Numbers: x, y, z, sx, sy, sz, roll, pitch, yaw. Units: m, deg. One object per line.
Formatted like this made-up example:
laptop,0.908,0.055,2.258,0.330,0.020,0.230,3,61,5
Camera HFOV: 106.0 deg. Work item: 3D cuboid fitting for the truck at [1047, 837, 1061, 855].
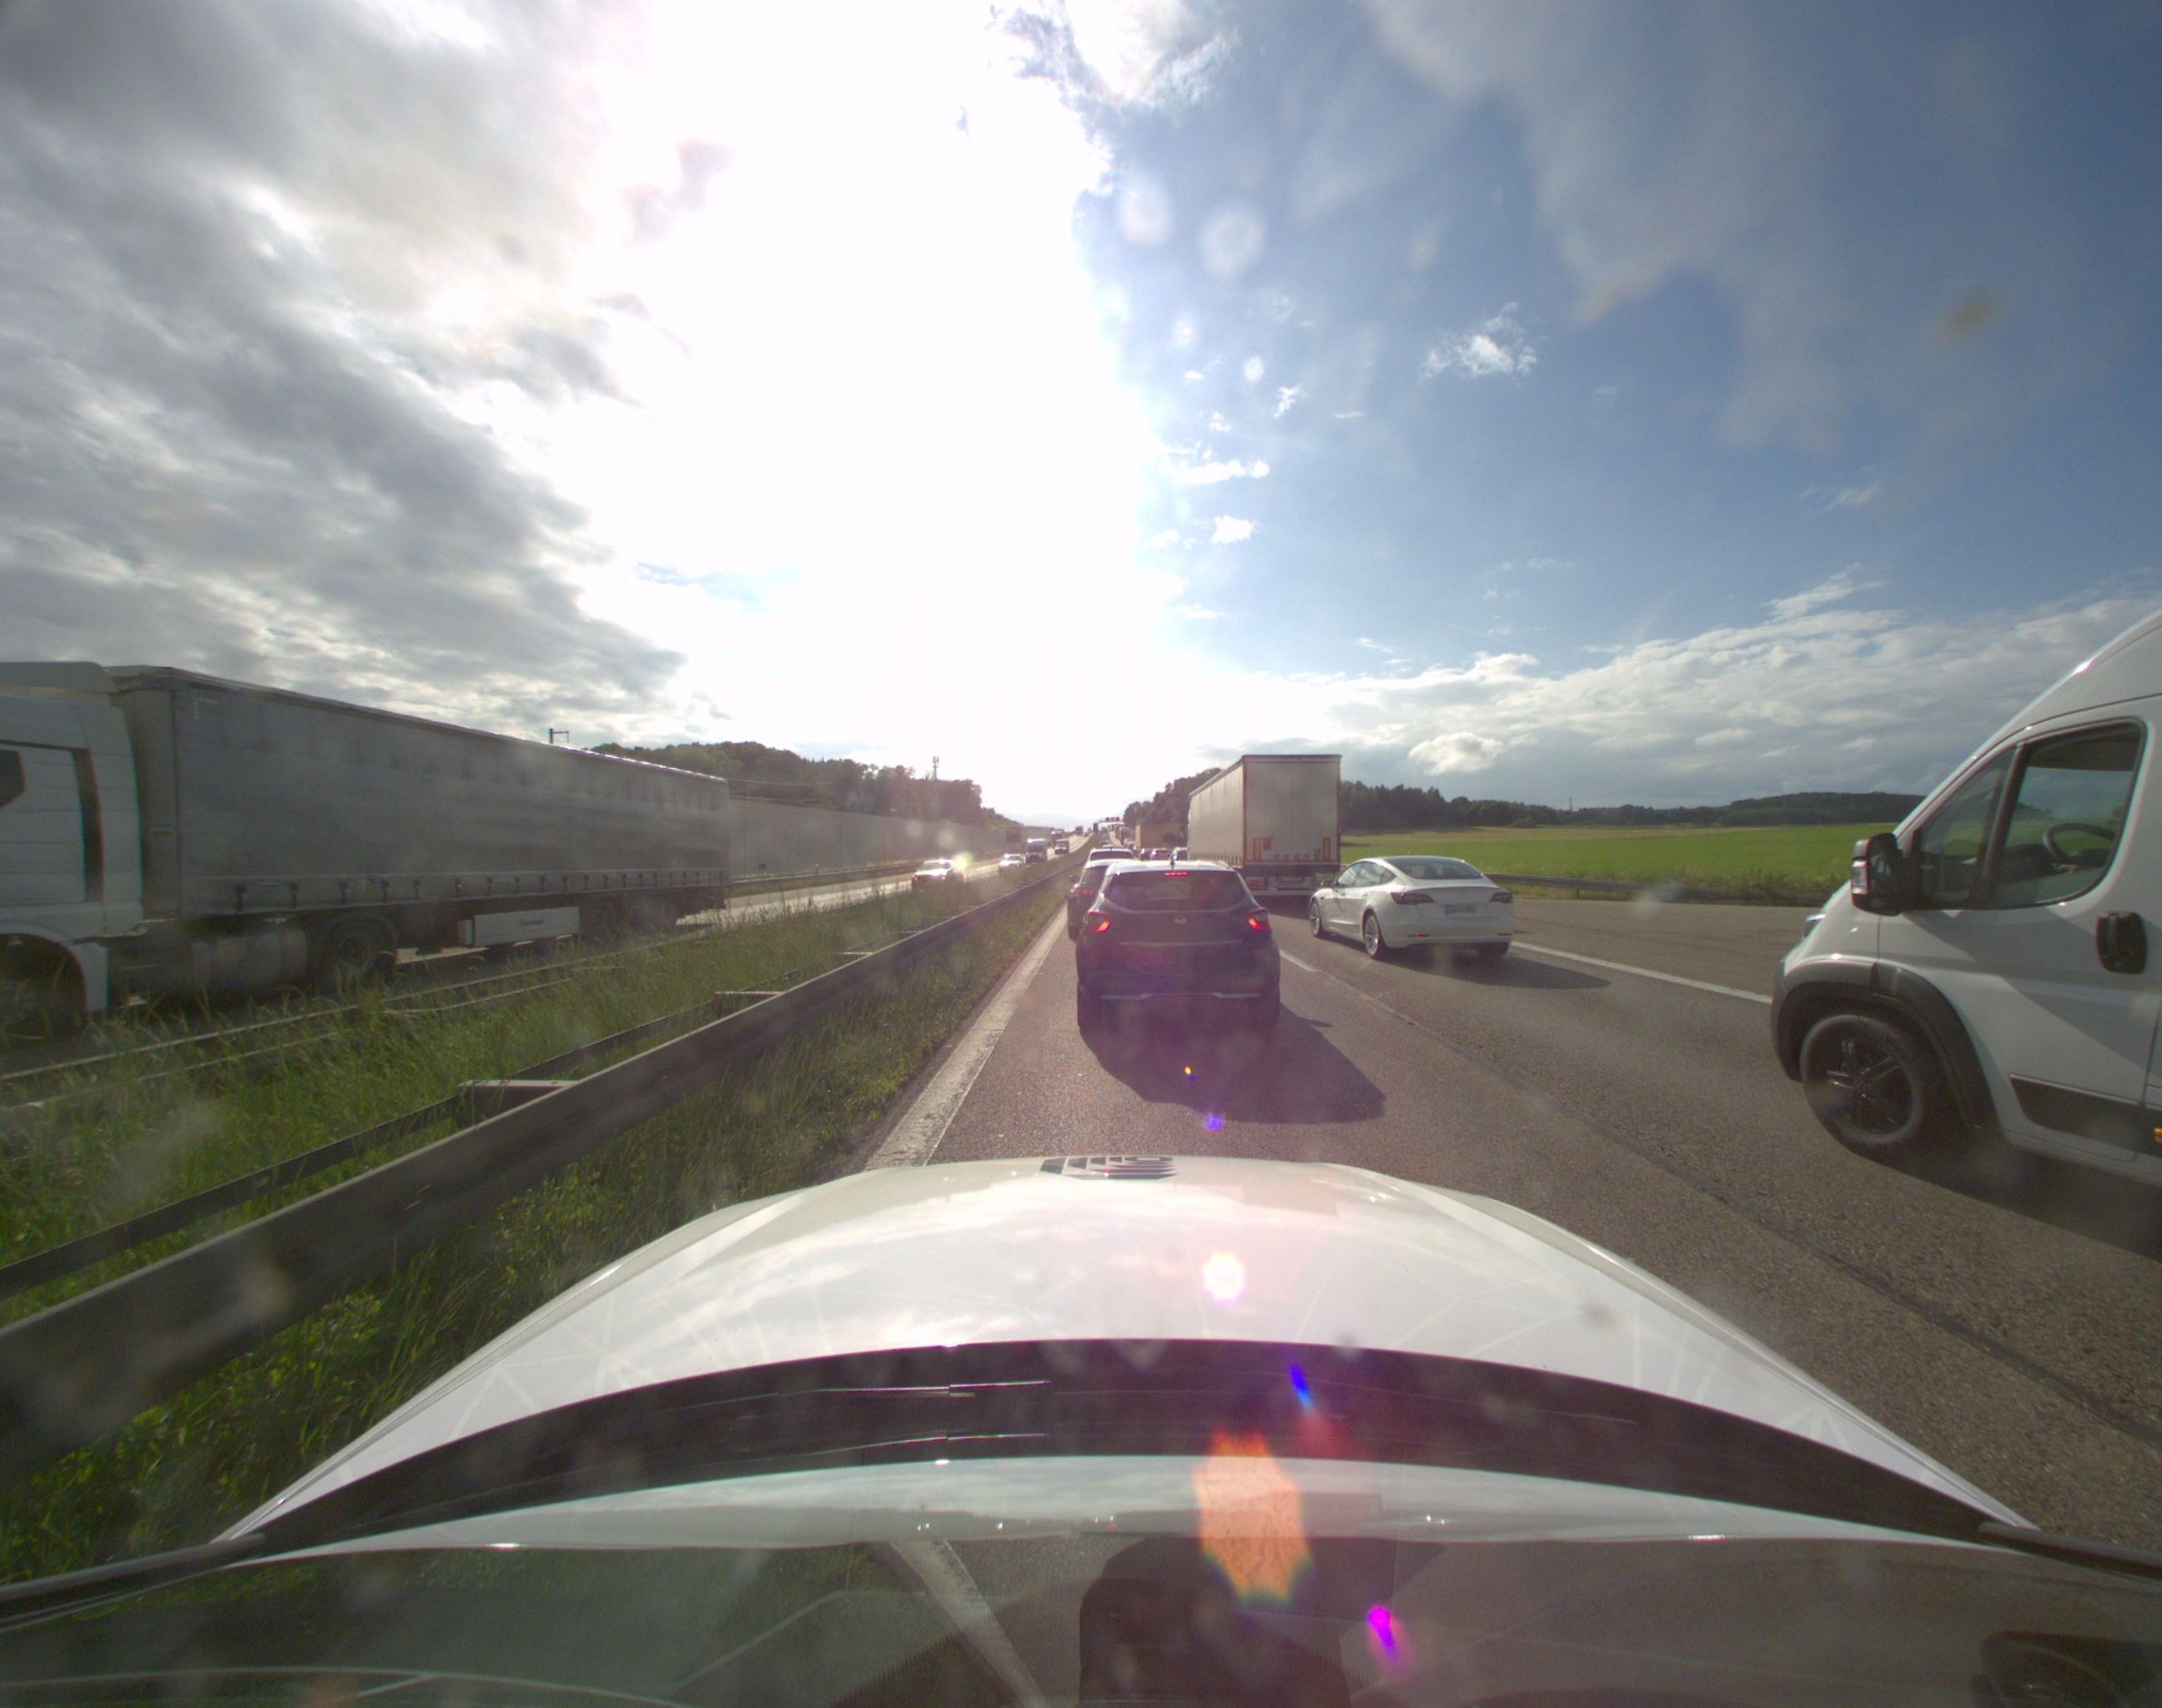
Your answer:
truck,-6.284,-1.851,189.378,2.573,3.923,5.724,-2,0,2

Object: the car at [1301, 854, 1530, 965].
car,4.893,0.705,12.667,1.782,1.394,4.437,-1,0,1

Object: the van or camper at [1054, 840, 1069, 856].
van or camper,-3.364,-1.045,143.946,2.244,2.704,7.172,-1,0,1

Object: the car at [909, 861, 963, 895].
car,-6.570,1.051,37.215,1.646,1.451,3.957,-1,0,1

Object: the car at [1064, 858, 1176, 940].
car,0.737,0.772,15.922,1.866,1.358,4.234,-1,0,2

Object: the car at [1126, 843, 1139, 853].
car,9.038,-1.143,143.608,1.868,1.644,4.230,-1,1,-1

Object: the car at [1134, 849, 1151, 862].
car,8.432,0.160,111.946,1.867,1.644,4.231,-1,0,0

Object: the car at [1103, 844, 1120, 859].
car,3.513,-0.331,93.698,1.866,1.644,4.235,-1,1,2

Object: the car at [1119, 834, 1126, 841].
car,12.963,-5.242,255.814,1.866,2.158,5.214,-1,3,2

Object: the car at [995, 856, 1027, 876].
car,-5.310,0.894,62.345,1.866,1.451,4.234,-1,0,2

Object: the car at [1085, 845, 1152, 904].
car,1.147,0.585,25.314,1.866,1.644,4.234,-1,0,2

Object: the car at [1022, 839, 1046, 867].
car,-4.976,-0.065,87.326,2.096,2.870,5.637,-1,0,1

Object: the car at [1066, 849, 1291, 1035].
car,0.853,0.710,8.637,1.766,1.451,4.234,-1,0,2

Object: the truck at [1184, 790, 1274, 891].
truck,6.210,-0.499,34.973,3.121,4.016,5.166,-1,-1,2

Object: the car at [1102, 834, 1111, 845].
car,5.529,-3.131,177.590,1.866,2.158,5.214,-1,3,2

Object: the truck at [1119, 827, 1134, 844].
truck,12.514,-5.113,226.191,3.452,4.576,12.442,0,1,1

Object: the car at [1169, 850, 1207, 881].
car,5.897,0.615,45.183,1.691,1.610,4.440,-1,0,3

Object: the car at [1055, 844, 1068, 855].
car,-3.244,-0.755,138.178,1.903,1.671,4.364,-1,2,1

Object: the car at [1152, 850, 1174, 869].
car,7.840,0.491,78.296,1.866,1.644,4.234,-1,1,2

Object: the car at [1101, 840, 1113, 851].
car,4.284,-1.448,133.815,1.867,1.644,4.233,-1,1,1

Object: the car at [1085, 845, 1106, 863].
car,1.418,-0.020,76.314,1.866,1.644,4.234,-1,1,2

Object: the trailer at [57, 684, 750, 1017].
trailer,-11.320,-0.017,17.043,2.780,4.077,13.523,-3,0,1

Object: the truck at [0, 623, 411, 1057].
truck,-11.492,-0.070,9.338,2.766,4.088,5.533,-3,0,1

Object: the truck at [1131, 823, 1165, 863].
truck,8.252,-1.214,101.331,3.286,4.577,12.440,0,-1,1

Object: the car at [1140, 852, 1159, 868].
car,7.388,0.592,87.902,1.866,1.644,4.234,-1,0,2

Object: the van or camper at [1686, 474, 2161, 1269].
van or camper,4.721,0.041,1.738,2.207,2.681,6.334,-1,0,1

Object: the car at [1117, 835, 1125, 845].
car,9.904,-3.490,200.723,1.866,2.158,5.214,-1,3,2

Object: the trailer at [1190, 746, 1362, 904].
trailer,5.887,-0.623,27.535,3.118,4.011,13.373,-1,-1,2
